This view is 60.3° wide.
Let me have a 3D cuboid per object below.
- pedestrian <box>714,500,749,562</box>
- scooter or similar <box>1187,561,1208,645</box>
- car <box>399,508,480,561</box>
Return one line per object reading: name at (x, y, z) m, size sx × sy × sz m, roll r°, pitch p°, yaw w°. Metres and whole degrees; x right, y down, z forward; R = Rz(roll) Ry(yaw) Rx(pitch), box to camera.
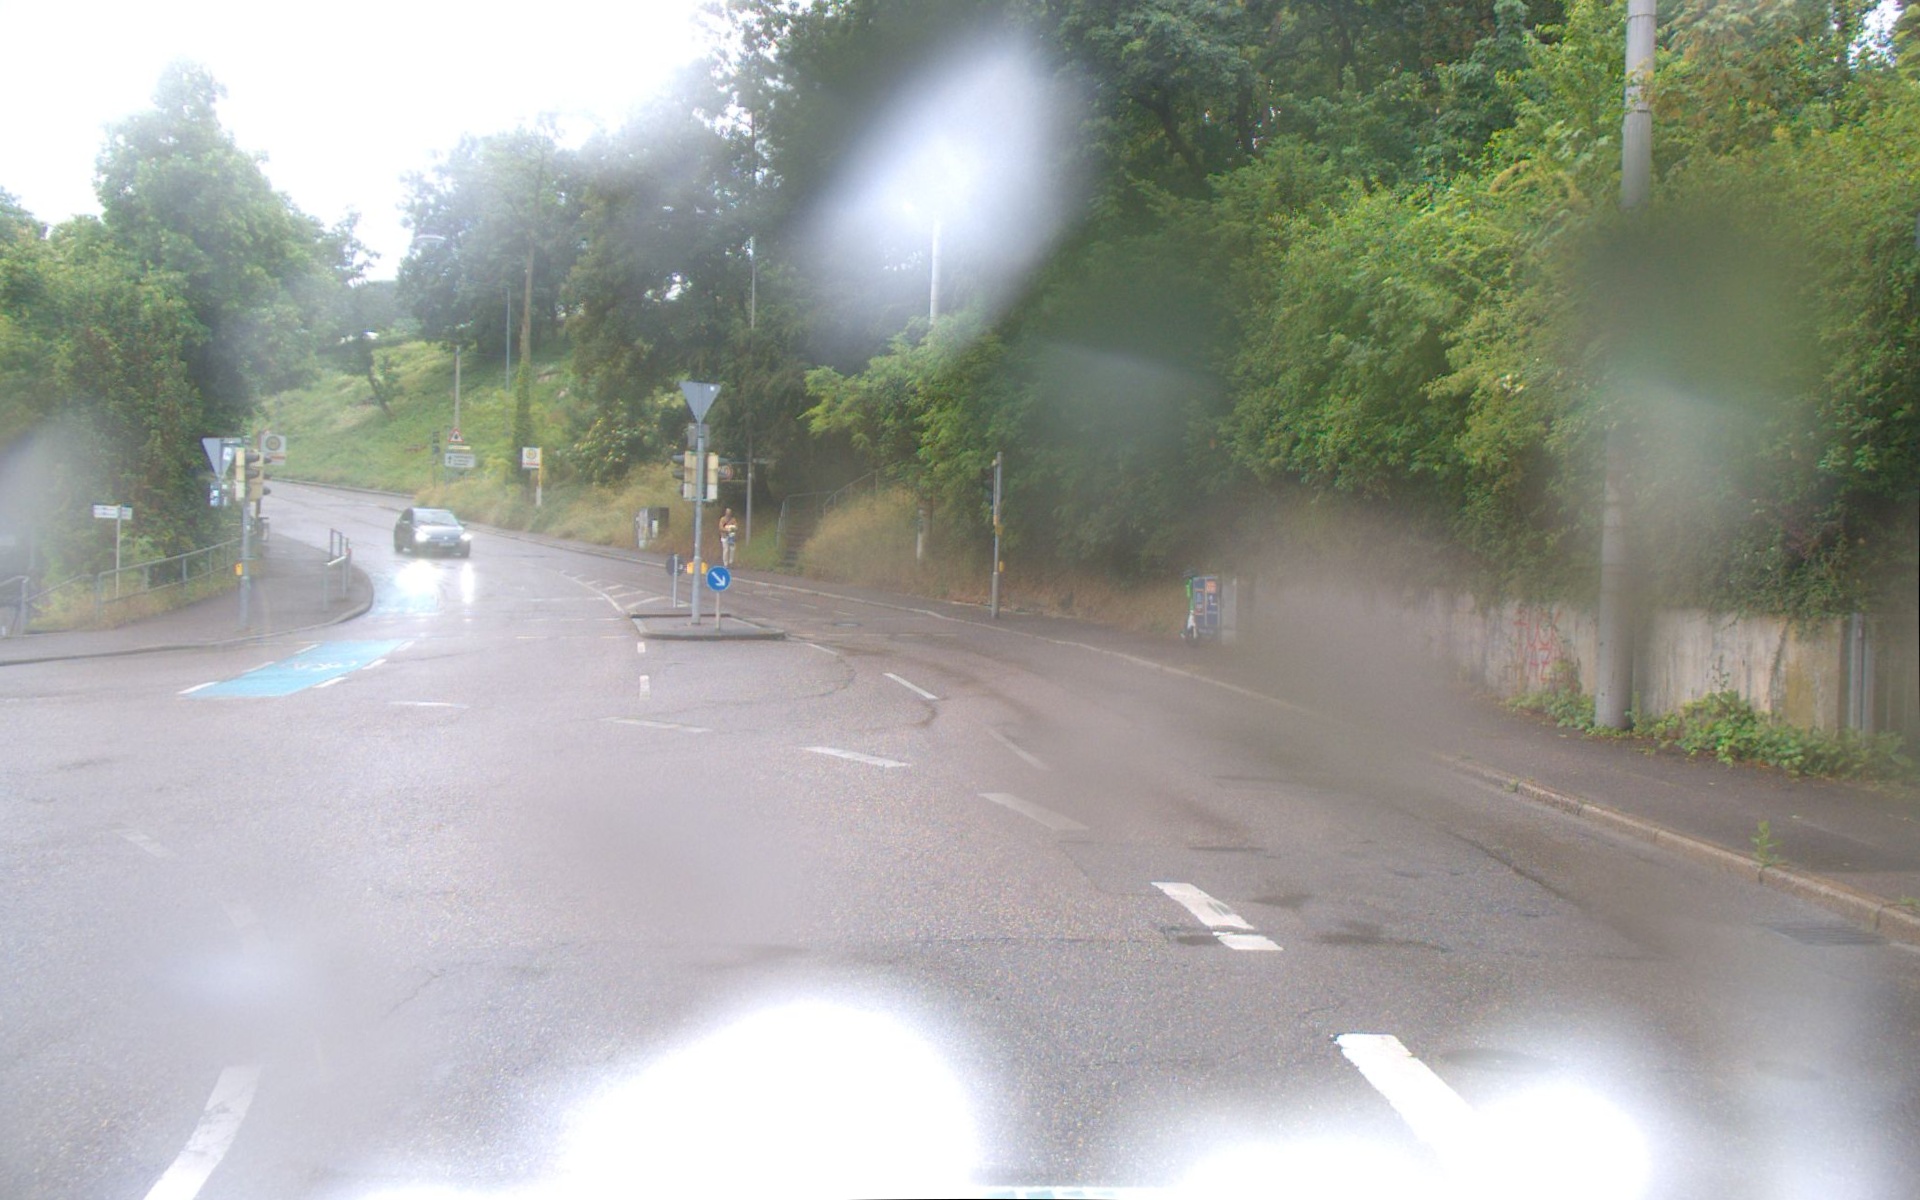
pedestrian at (-6.752, -2.027, 48.870) m, size 0.867 × 1.767 × 0.861 m, roll 1°, pitch -1°, yaw -17°
scooter or similar at (3.797, 0.041, 26.494) m, size 0.315 × 1.302 × 0.752 m, roll 0°, pitch 3°, yaw 7°
car at (-16.775, -2.137, 53.163) m, size 1.931 × 1.538 × 4.371 m, roll 1°, pitch 3°, yaw -25°
